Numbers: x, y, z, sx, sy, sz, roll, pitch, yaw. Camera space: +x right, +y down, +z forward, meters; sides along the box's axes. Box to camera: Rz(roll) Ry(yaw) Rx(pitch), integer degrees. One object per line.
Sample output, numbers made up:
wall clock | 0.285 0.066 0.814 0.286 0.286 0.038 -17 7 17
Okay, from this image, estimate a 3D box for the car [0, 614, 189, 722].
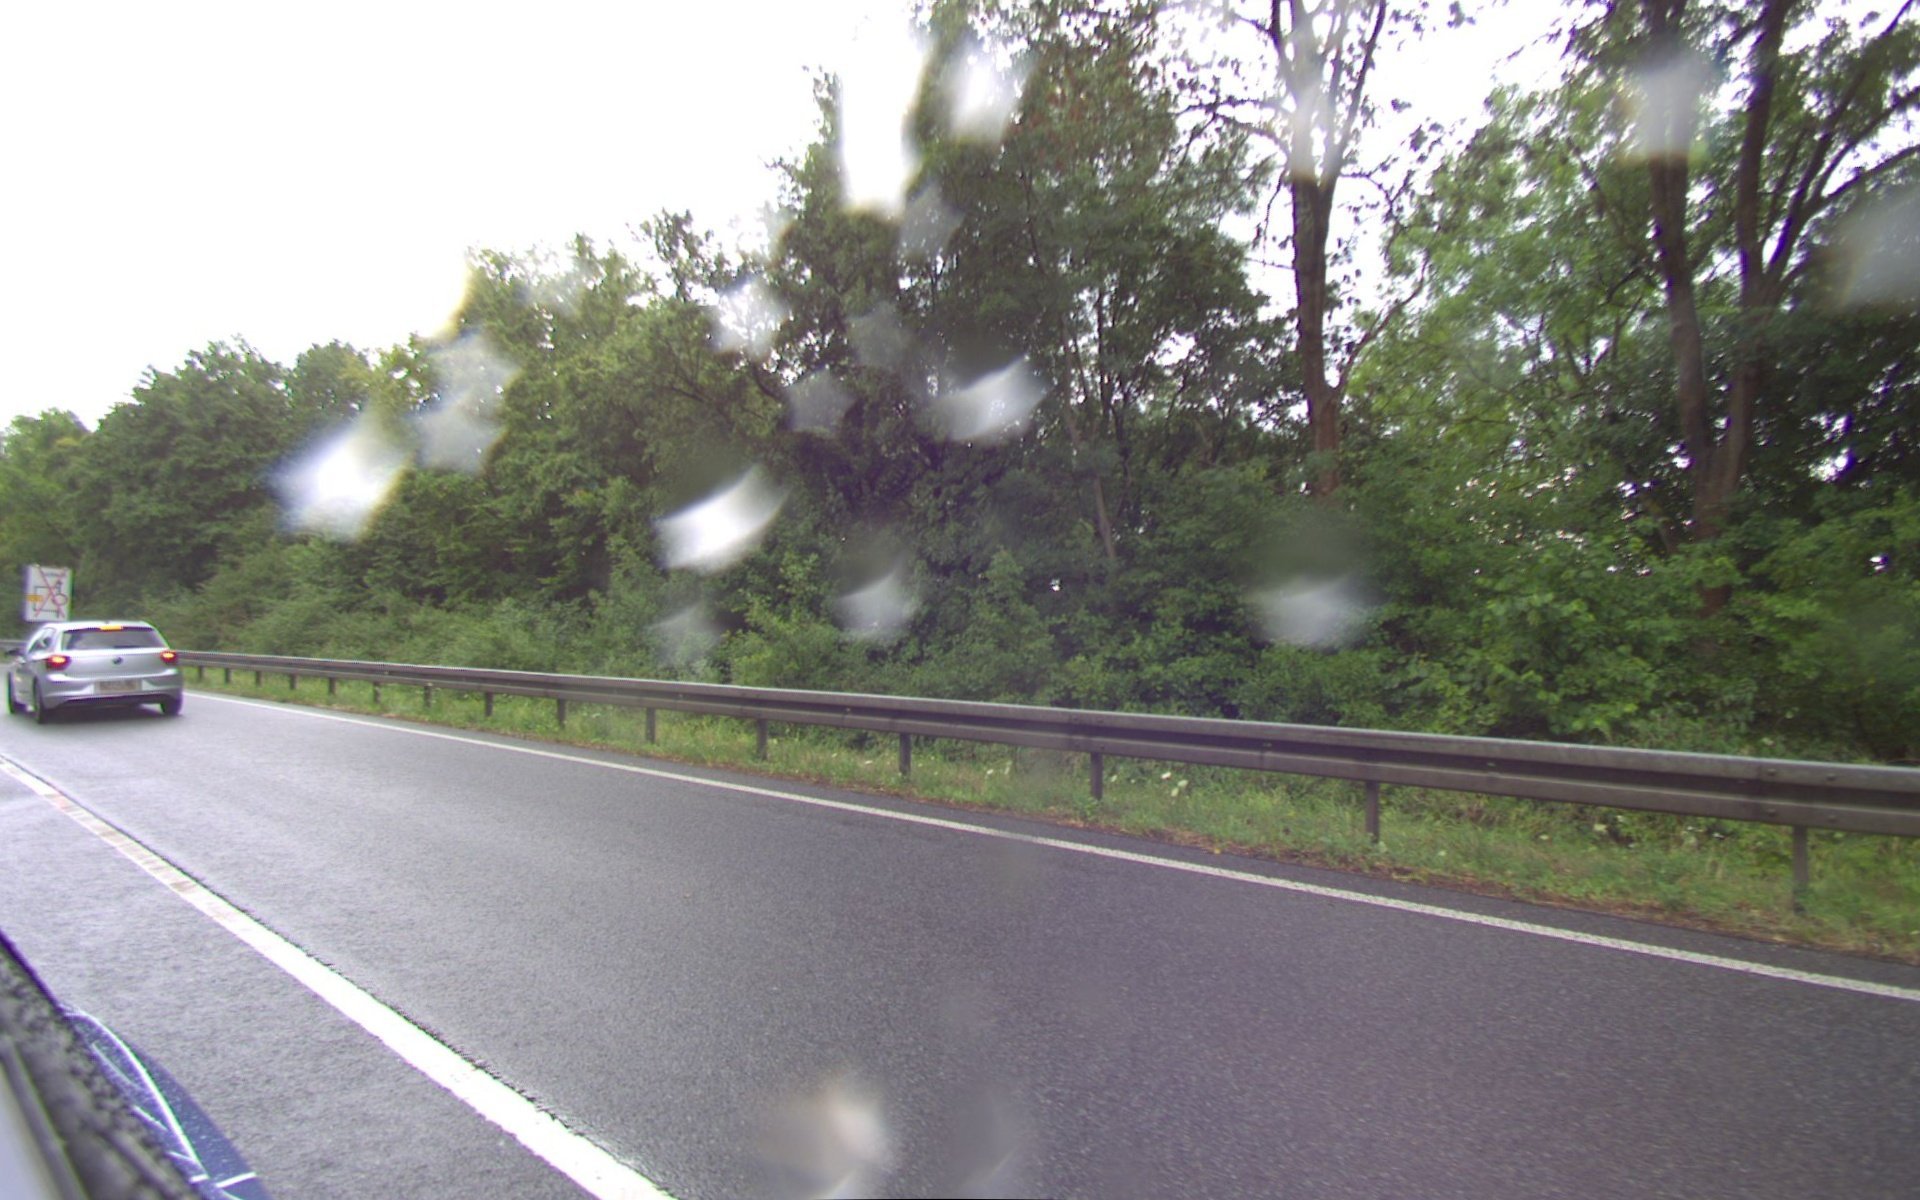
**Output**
car | -13.605 0.958 15.811 3.847 1.442 1.710 0 0 41
